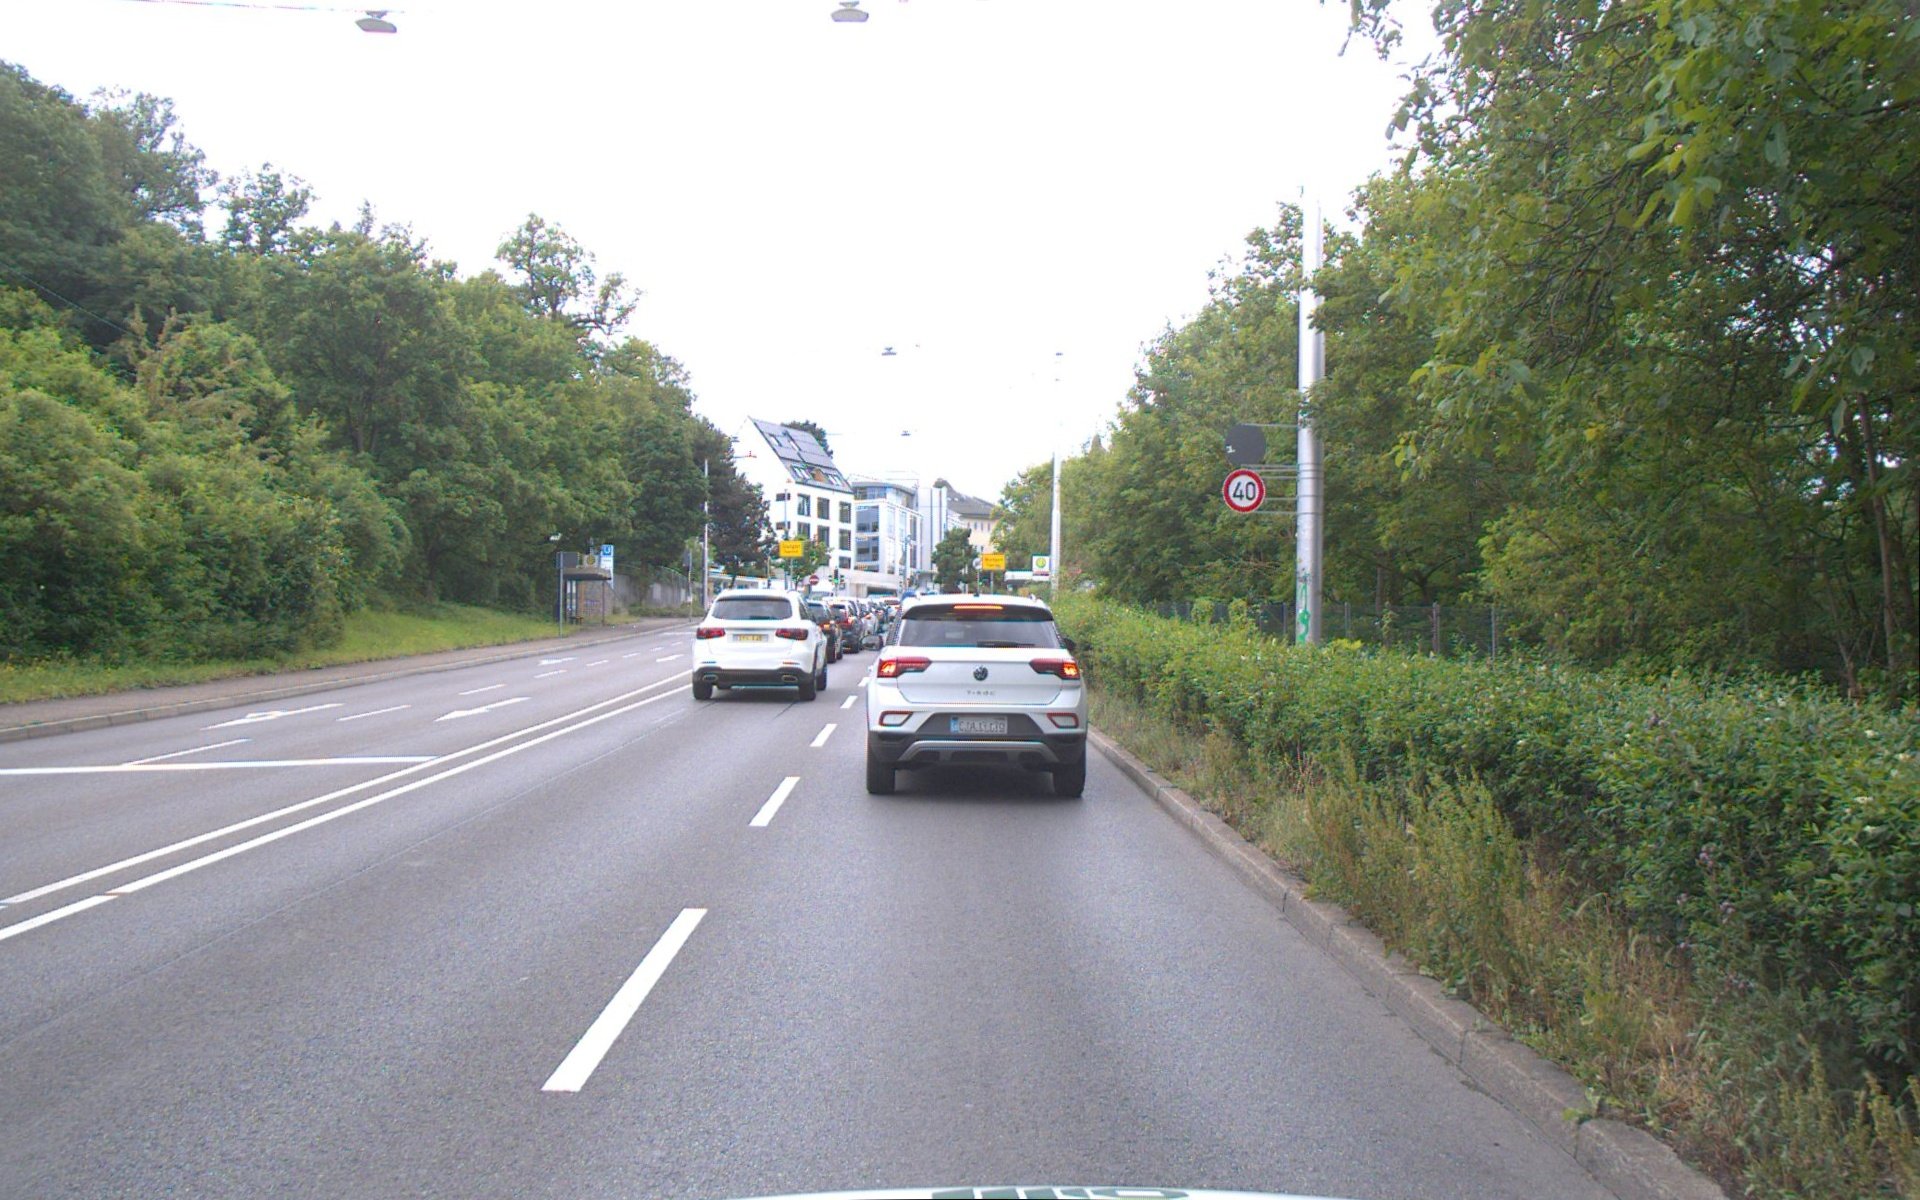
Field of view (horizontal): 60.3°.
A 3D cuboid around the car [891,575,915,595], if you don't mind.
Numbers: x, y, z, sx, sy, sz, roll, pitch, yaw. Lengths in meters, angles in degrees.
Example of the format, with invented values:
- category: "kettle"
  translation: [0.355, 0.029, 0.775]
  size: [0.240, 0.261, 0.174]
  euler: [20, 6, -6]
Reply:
- category: "car"
  translation: [-4.569, -1.182, 133.006]
  size: [1.792, 1.552, 3.999]
  euler: [-1, 0, -1]

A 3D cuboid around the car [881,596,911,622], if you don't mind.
- category: "car"
  translation: [-3.903, 0.541, 101.195]
  size: [1.792, 1.552, 3.999]
  euler: [-1, 0, -1]

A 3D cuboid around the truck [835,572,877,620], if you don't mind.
- category: "truck"
  translation: [-6.352, -0.227, 101.416]
  size: [2.314, 2.831, 4.476]
  euler: [-1, 0, -2]

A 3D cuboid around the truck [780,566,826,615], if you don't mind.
- category: "truck"
  translation: [-9.171, -0.554, 96.718]
  size: [2.314, 2.754, 4.476]
  euler: [-1, 0, -2]

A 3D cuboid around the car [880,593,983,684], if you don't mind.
- category: "car"
  translation: [-0.544, 0.674, 30.899]
  size: [1.792, 1.552, 3.999]
  euler: [-1, 0, -1]

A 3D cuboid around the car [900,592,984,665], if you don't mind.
- category: "car"
  translation: [-0.430, 0.620, 37.776]
  size: [1.792, 1.552, 3.999]
  euler: [-1, 0, -1]

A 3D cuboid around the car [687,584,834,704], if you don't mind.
- category: "car"
  translation: [-3.025, 0.634, 25.815]
  size: [1.879, 1.699, 3.999]
  euler: [1, 0, -1]

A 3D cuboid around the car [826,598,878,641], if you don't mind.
- category: "car"
  translation: [-4.079, 0.702, 62.736]
  size: [1.792, 1.552, 3.999]
  euler: [-1, 0, -1]

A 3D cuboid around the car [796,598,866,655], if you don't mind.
- category: "car"
  translation: [-3.671, 0.730, 47.646]
  size: [1.792, 1.552, 3.999]
  euler: [-1, 0, -1]

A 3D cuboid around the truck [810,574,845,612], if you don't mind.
- category: "truck"
  translation: [-11.479, -0.567, 143.363]
  size: [2.245, 3.104, 6.980]
  euler: [-1, 0, 2]

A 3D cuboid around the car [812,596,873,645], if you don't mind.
- category: "car"
  translation: [-3.868, 0.658, 54.974]
  size: [1.792, 1.552, 3.999]
  euler: [-1, 0, -1]

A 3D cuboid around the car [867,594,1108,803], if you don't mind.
- category: "car"
  translation: [0.160, 0.733, 14.314]
  size: [1.792, 1.552, 3.999]
  euler: [0, 0, -1]

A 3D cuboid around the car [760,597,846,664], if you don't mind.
- category: "car"
  translation: [-3.751, 0.710, 40.081]
  size: [1.792, 1.523, 3.999]
  euler: [-1, 0, -1]
